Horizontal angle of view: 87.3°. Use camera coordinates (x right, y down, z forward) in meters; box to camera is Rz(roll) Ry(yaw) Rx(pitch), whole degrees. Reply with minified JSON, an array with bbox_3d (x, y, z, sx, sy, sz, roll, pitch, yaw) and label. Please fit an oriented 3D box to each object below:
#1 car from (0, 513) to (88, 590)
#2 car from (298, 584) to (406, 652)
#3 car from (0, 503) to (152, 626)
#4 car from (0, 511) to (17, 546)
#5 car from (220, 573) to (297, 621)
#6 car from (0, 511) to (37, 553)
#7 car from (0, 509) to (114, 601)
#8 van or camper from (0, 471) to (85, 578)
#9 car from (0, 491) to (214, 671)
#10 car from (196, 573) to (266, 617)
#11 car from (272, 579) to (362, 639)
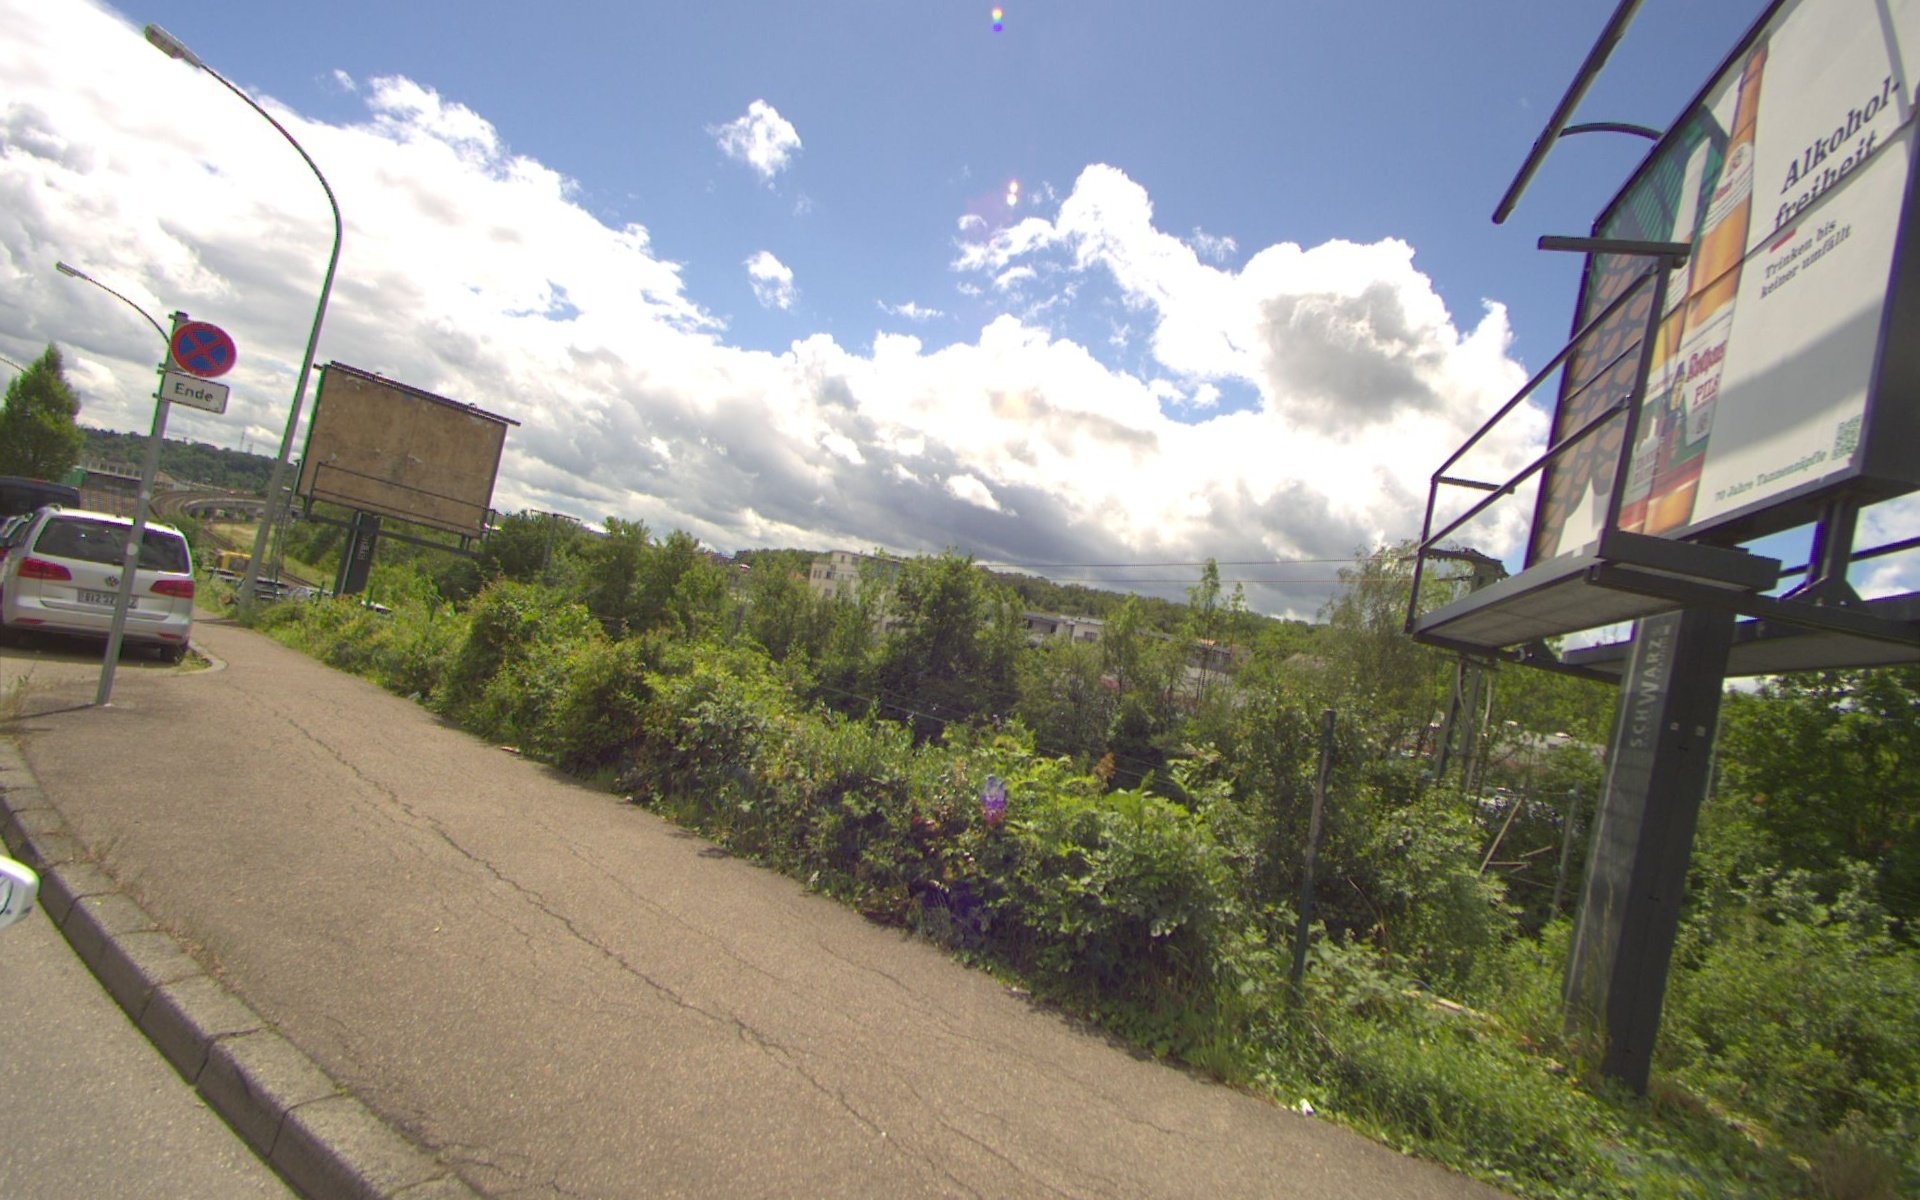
[{"bbox_3d":[-23.109,-1.262,25.017,3.649,1.526,1.704,6,-5,45],"label":"car"},{"bbox_3d":[-19.109,0.535,31.515,4.471,1.526,1.704,6,-5,45],"label":"car"},{"bbox_3d":[-14.645,-0.636,16.346,4.514,1.502,1.704,6,-5,45],"label":"car"},{"bbox_3d":[-43.656,-3.332,44.861,3.494,1.459,1.902,5,-2,41],"label":"car"},{"bbox_3d":[-28.911,-0.139,41.415,3.828,1.523,1.790,5,-2,44],"label":"car"},{"bbox_3d":[-40.128,-2.920,42.001,3.946,1.525,1.873,5,-2,42],"label":"car"},{"bbox_3d":[-19.304,-0.998,21.198,3.906,1.495,1.705,6,-5,44],"label":"car"},{"bbox_3d":[-27.448,-2.232,29.445,5.842,2.613,2.121,5,-4,45],"label":"van or camper"},{"bbox_3d":[-10.869,-0.308,12.553,4.253,1.695,1.704,6,-5,45],"label":"car"},{"bbox_3d":[-32.546,-0.248,44.874,3.828,1.523,1.790,5,-2,44],"label":"car"},{"bbox_3d":[-22.280,0.284,34.809,3.649,1.526,1.704,6,-5,45],"label":"car"}]
